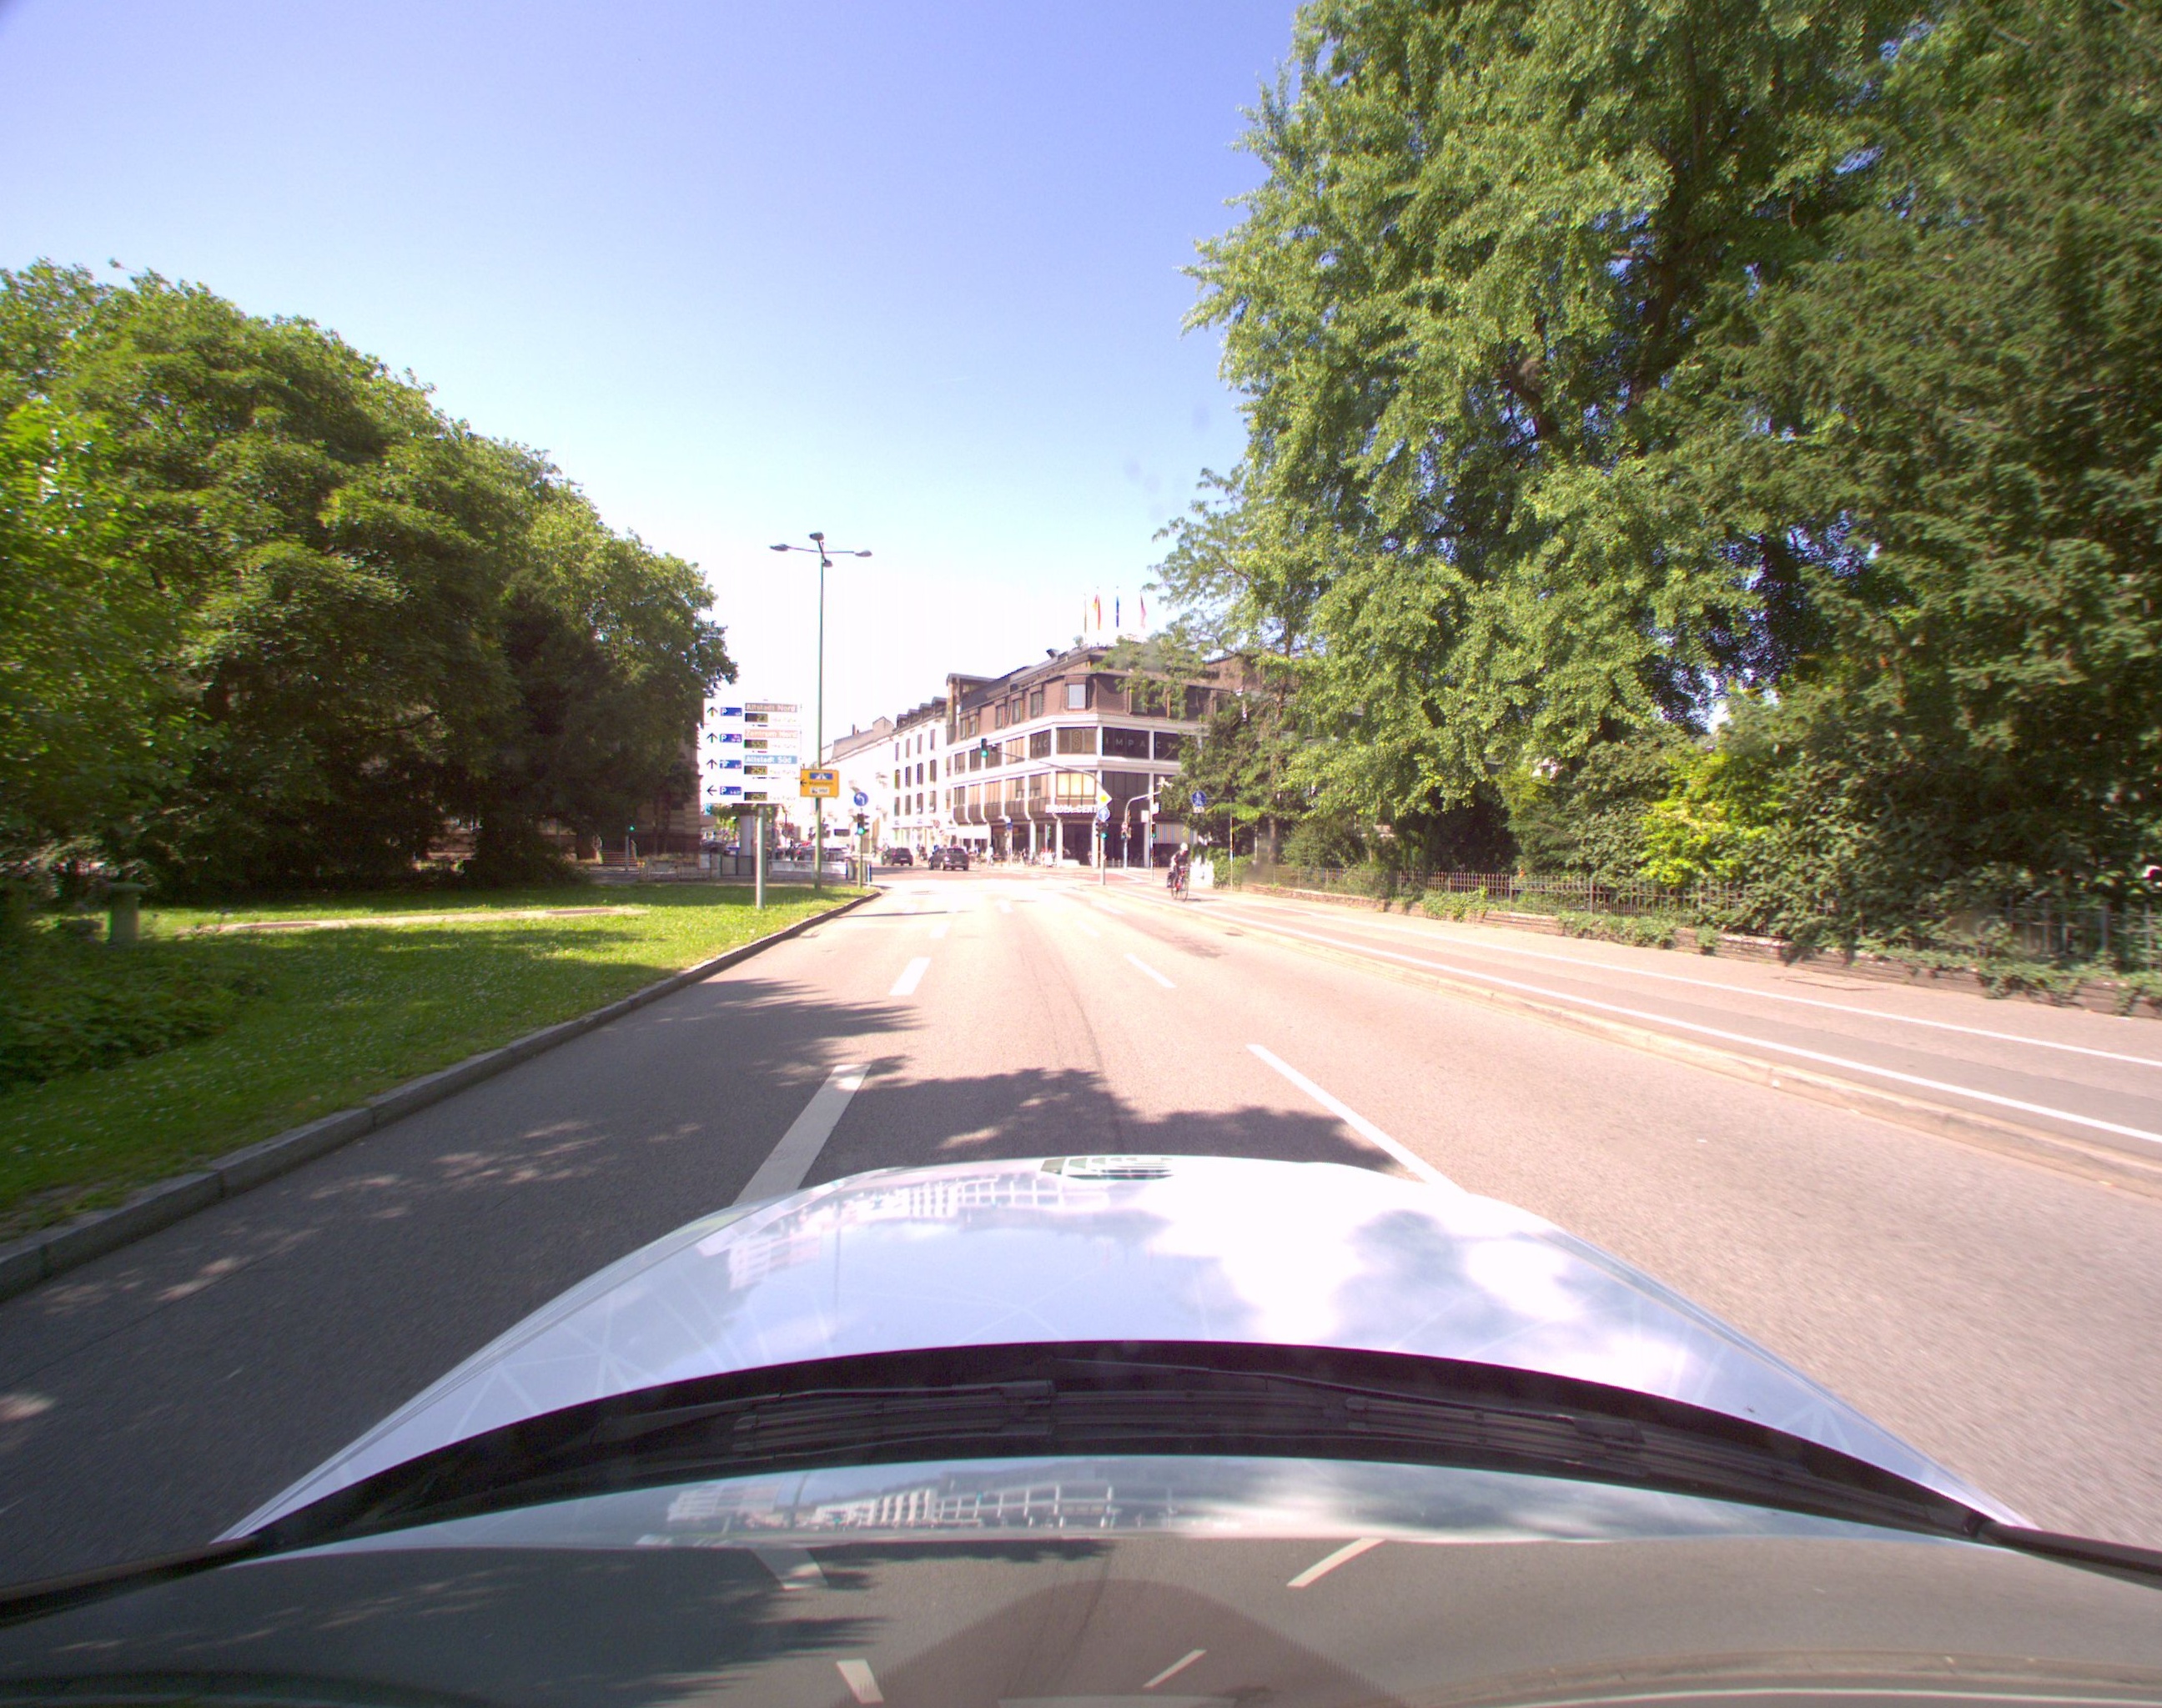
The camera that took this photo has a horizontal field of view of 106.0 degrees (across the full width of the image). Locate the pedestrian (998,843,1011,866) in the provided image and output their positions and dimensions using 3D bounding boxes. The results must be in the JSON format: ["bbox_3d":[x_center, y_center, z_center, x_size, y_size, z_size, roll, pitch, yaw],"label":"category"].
[{"bbox_3d":[-6.084,0.022,64.581,0.835,1.836,0.692,0,-1,-20],"label":"pedestrian"}]

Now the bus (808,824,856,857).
[{"bbox_3d":[-30.906,-1.653,100.493,2.899,3.742,12.309,2,0,-30],"label":"bus"}]

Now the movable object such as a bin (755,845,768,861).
[{"bbox_3d":[-30.880,-0.084,78.635,1.128,1.450,1.428,2,1,-23],"label":"movable object such as a bin"}]

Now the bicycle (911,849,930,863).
[{"bbox_3d":[-15.653,0.193,79.306,0.984,1.386,2.973,0,0,-29],"label":"bicycle"}]

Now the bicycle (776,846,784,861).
[{"bbox_3d":[-24.018,-0.028,65.011,0.430,1.120,2.229,2,-1,-18],"label":"bicycle"}]

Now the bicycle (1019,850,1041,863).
[{"bbox_3d":[-4.348,0.181,69.436,2.255,1.097,0.274,0,1,-42],"label":"bicycle"}]

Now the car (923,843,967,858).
[{"bbox_3d":[-13.862,-0.364,83.032,4.067,1.495,1.825,-1,-1,-28],"label":"car"}]

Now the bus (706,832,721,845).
[{"bbox_3d":[-102.054,-4.395,226.173,2.789,3.604,8.884,0,1,-32],"label":"bus"}]

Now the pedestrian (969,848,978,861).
[{"bbox_3d":[-9.949,0.062,75.474,0.714,1.217,0.692,0,-1,-20],"label":"pedestrian"}]

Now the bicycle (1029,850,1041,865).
[{"bbox_3d":[-3.731,0.276,65.906,0.278,1.120,2.228,0,1,-21],"label":"bicycle"}]

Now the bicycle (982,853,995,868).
[{"bbox_3d":[-7.170,0.513,63.065,0.596,1.120,1.788,0,1,-21],"label":"bicycle"}]

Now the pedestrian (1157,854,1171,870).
[{"bbox_3d":[6.823,0.659,66.979,0.819,1.334,0.977,1,1,25],"label":"pedestrian"}]

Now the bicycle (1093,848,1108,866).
[{"bbox_3d":[1.520,0.250,62.197,0.524,1.316,1.869,1,2,23],"label":"bicycle"}]

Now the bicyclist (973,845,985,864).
[{"bbox_3d":[-8.251,0.057,65.826,0.624,1.529,0.861,1,0,-27],"label":"bicyclist"}]

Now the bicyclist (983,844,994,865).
[{"bbox_3d":[-7.112,0.030,62.670,0.697,1.625,0.830,0,1,-21],"label":"bicyclist"}]

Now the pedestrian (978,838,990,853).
[{"bbox_3d":[-9.709,-0.886,81.550,0.749,1.367,0.579,-11,6,-30],"label":"pedestrian"}]

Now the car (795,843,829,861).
[{"bbox_3d":[-21.572,-0.160,65.306,1.947,1.354,4.212,-1,2,-27],"label":"car"}]

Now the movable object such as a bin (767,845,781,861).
[{"bbox_3d":[-29.842,-0.093,79.093,1.128,1.450,1.428,2,1,-23],"label":"movable object such as a bin"}]

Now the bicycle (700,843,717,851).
[{"bbox_3d":[-52.972,-0.971,115.707,2.080,1.130,0.459,3,-1,-36],"label":"bicycle"}]

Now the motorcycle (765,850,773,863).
[{"bbox_3d":[-24.843,0.203,64.898,0.455,0.998,2.147,2,-1,-19],"label":"motorcycle"}]

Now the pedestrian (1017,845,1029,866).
[{"bbox_3d":[-4.641,0.113,65.250,0.835,1.663,0.692,0,-1,-21],"label":"pedestrian"}]

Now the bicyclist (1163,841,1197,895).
[{"bbox_3d":[3.016,0.420,24.917,0.764,1.636,0.940,0,-1,-11],"label":"bicyclist"}]

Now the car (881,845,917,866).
[{"bbox_3d":[-14.614,0.116,65.427,1.843,1.527,3.964,-2,0,-27],"label":"car"}]

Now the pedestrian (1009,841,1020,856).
[{"bbox_3d":[-6.102,-0.493,74.691,0.716,1.396,0.690,0,-1,-30],"label":"pedestrian"}]

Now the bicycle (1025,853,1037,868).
[{"bbox_3d":[-4.027,0.533,65.532,0.278,1.120,2.228,0,1,-21],"label":"bicycle"}]

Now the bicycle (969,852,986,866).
[{"bbox_3d":[-8.389,0.366,66.100,0.624,1.099,2.332,1,0,-27],"label":"bicycle"}]

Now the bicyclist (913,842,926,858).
[{"bbox_3d":[-15.742,-0.385,79.516,0.988,1.599,1.045,1,0,-29],"label":"bicyclist"}]

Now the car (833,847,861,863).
[{"bbox_3d":[-23.744,0.062,82.400,1.844,1.527,3.962,-2,0,-29],"label":"car"}]

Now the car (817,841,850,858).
[{"bbox_3d":[-21.838,-0.377,71.784,1.875,1.441,3.961,0,0,-31],"label":"car"}]

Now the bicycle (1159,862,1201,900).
[{"bbox_3d":[3.015,0.809,25.001,0.757,1.120,1.995,0,-1,-9],"label":"bicycle"}]

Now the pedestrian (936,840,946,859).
[{"bbox_3d":[-12.689,-0.430,73.933,0.623,1.720,0.828,1,-1,-27],"label":"pedestrian"}]

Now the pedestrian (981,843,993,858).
[{"bbox_3d":[-9.313,-0.309,80.636,0.882,1.368,0.532,11,-5,-30],"label":"pedestrian"}]

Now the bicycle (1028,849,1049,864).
[{"bbox_3d":[-3.481,0.203,66.997,1.724,1.120,0.275,-1,1,-23],"label":"bicycle"}]

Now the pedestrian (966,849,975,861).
[{"bbox_3d":[-10.329,0.092,76.233,0.714,1.173,0.692,0,-1,-20],"label":"pedestrian"}]

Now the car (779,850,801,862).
[{"bbox_3d":[-35.582,0.217,99.572,1.874,1.441,3.962,0,-1,-29],"label":"car"}]

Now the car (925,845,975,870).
[{"bbox_3d":[-8.689,0.236,53.647,1.845,1.527,3.960,-2,1,-31],"label":"car"}]

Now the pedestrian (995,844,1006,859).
[{"bbox_3d":[-7.619,-0.269,77.184,0.818,1.396,0.690,0,0,-31],"label":"pedestrian"}]

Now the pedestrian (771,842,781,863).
[{"bbox_3d":[-24.190,-0.123,64.639,0.698,1.695,0.685,0,-1,-26],"label":"pedestrian"}]

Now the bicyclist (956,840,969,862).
[{"bbox_3d":[-9.261,-0.251,63.704,0.698,1.673,0.907,3,1,-28],"label":"bicyclist"}]

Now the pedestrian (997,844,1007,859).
[{"bbox_3d":[-7.367,-0.235,76.364,0.716,1.396,0.690,0,-1,-30],"label":"pedestrian"}]

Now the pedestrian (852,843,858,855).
[{"bbox_3d":[-31.076,-0.640,112.137,0.649,1.617,0.815,0,-1,-26],"label":"pedestrian"}]

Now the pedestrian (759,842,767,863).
[{"bbox_3d":[-25.243,-0.148,64.697,0.551,1.665,0.930,0,-1,-20],"label":"pedestrian"}]

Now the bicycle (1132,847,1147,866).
[{"bbox_3d":[4.613,0.151,64.225,0.524,1.422,1.978,1,2,23],"label":"bicycle"}]

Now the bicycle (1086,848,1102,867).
[{"bbox_3d":[1.016,0.258,62.338,0.524,1.316,1.978,1,2,23],"label":"bicycle"}]

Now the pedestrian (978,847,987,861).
[{"bbox_3d":[-9.777,0.000,80.899,0.765,1.367,0.473,0,0,-30],"label":"pedestrian"}]

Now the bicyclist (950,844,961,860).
[{"bbox_3d":[-10.526,-0.194,68.093,0.624,1.355,0.838,1,0,-31],"label":"bicyclist"}]
